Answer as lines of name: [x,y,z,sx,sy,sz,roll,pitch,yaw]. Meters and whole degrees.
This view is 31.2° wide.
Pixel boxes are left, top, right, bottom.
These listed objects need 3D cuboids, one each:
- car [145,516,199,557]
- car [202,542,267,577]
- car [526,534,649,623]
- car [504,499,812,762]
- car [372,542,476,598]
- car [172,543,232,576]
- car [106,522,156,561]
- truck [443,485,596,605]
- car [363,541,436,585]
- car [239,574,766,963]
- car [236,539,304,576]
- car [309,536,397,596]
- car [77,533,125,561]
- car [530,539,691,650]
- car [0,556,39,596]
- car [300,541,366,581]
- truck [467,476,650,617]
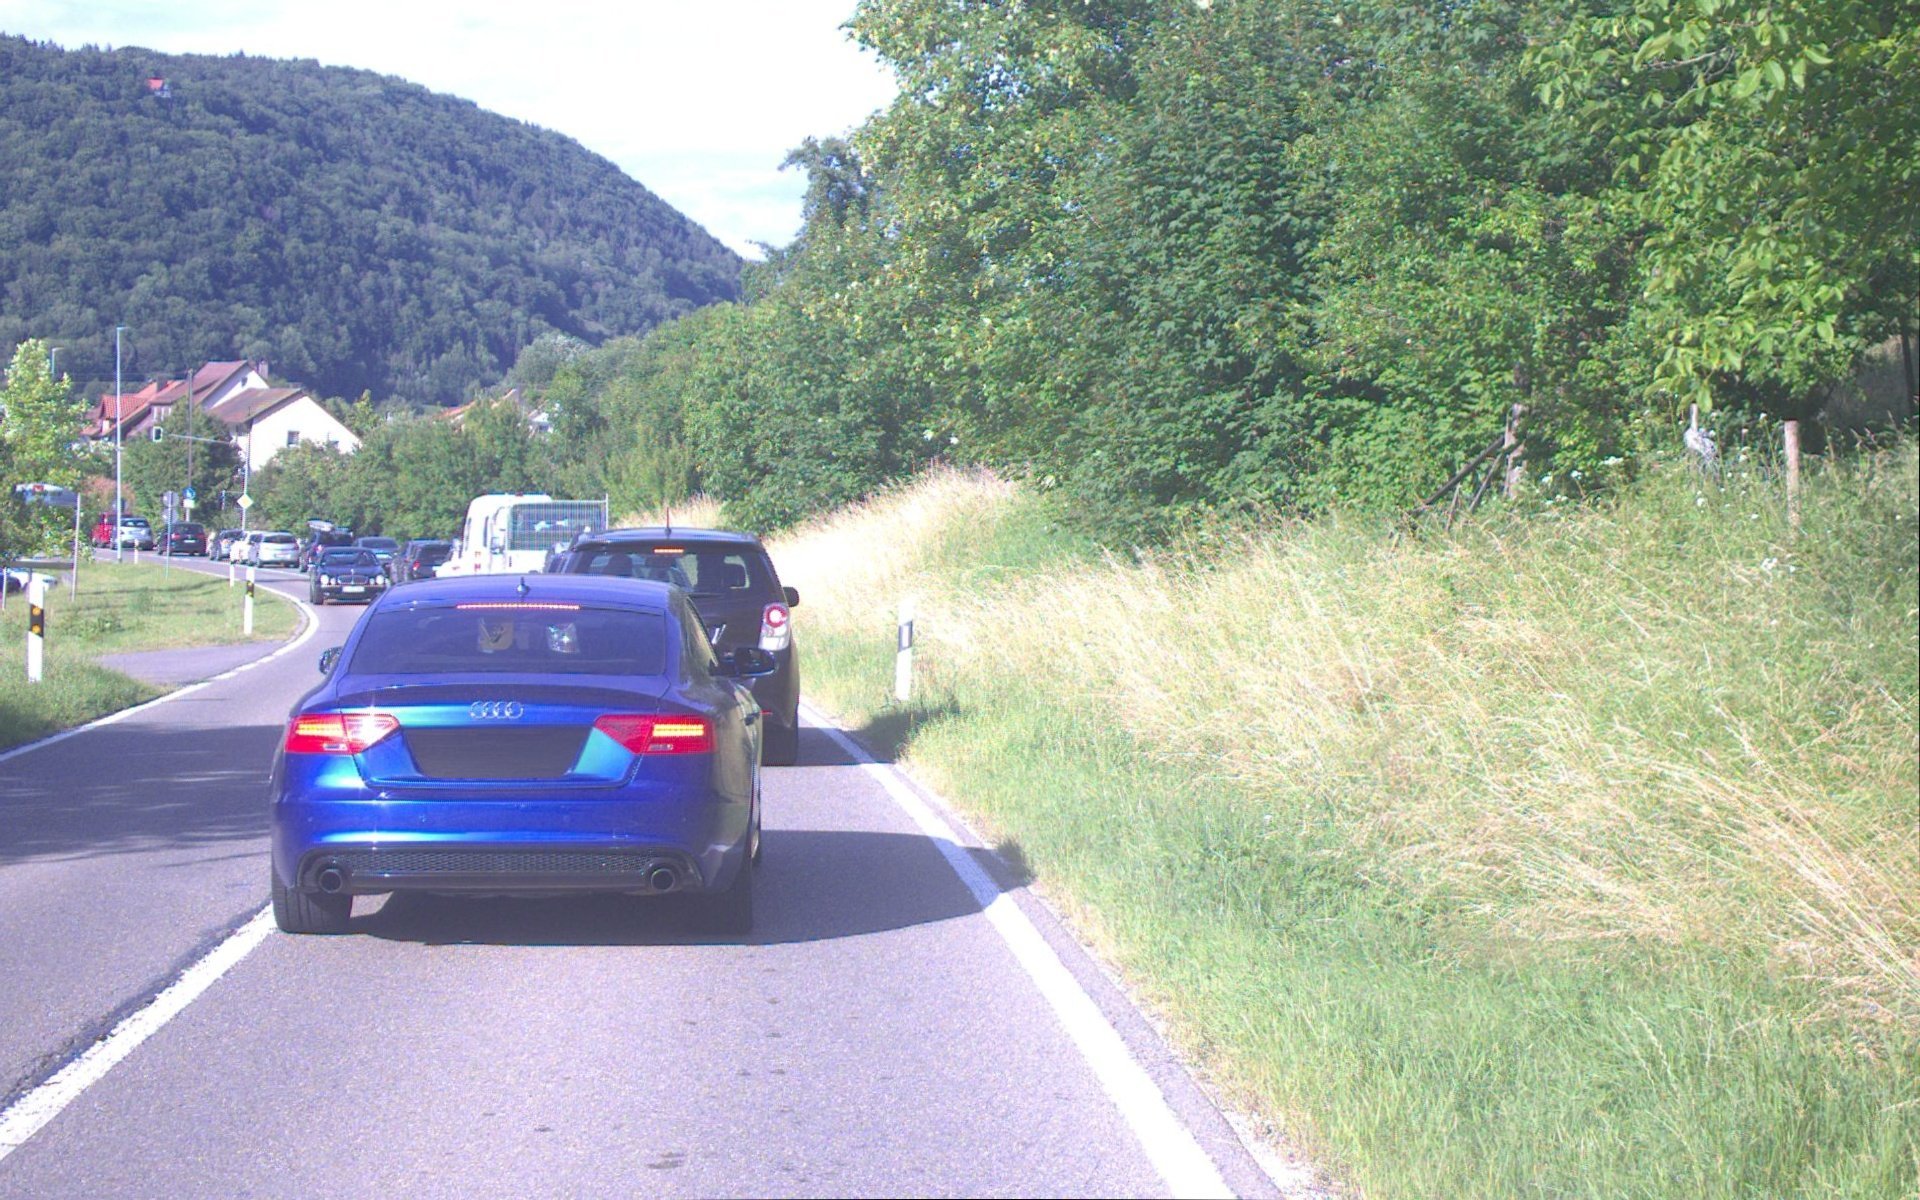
car: [-39.139,-3.149,170.674,1.993,2.007,4.001,1,0,-22]
car: [-31.413,-1.753,148.787,1.993,1.477,4.001,1,0,-23]
car: [-6.516,-0.382,59.848,1.993,1.477,4.001,1,0,-8]
car: [-2.074,0.185,24.540,1.993,1.696,4.000,1,0,-3]
car: [-14.666,-0.826,93.867,1.993,1.477,4.001,1,0,-21]
car: [-34.908,-1.886,158.310,1.993,1.477,4.001,1,0,-23]
car: [-44.017,-3.082,182.515,1.993,2.007,4.001,1,0,-22]
truck: [-10.732,-1.328,82.831,2.863,2.656,10.648,1,1,-11]
car: [-19.572,-1.294,119.959,1.993,1.477,4.001,1,0,-17]
car: [-1.735,0.582,14.206,1.793,1.355,4.000,0,1,-2]
car: [-28.534,-1.770,142.083,1.993,1.477,4.001,1,0,-23]
car: [-14.551,-0.819,82.421,1.993,1.371,4.001,1,0,-10]
car: [-47.704,-2.929,190.880,1.993,1.477,4.001,1,0,-23]
car: [-4.955,-0.091,48.325,1.993,1.477,4.001,1,0,-9]
car: [-38.658,-0.980,135.918,3.986,1.548,1.782,1,0,-2]
car: [-23.769,-1.473,130.310,1.993,1.477,4.001,1,0,-17]
truck: [-8.445,-1.110,71.240,2.863,2.656,10.396,1,1,-11]
